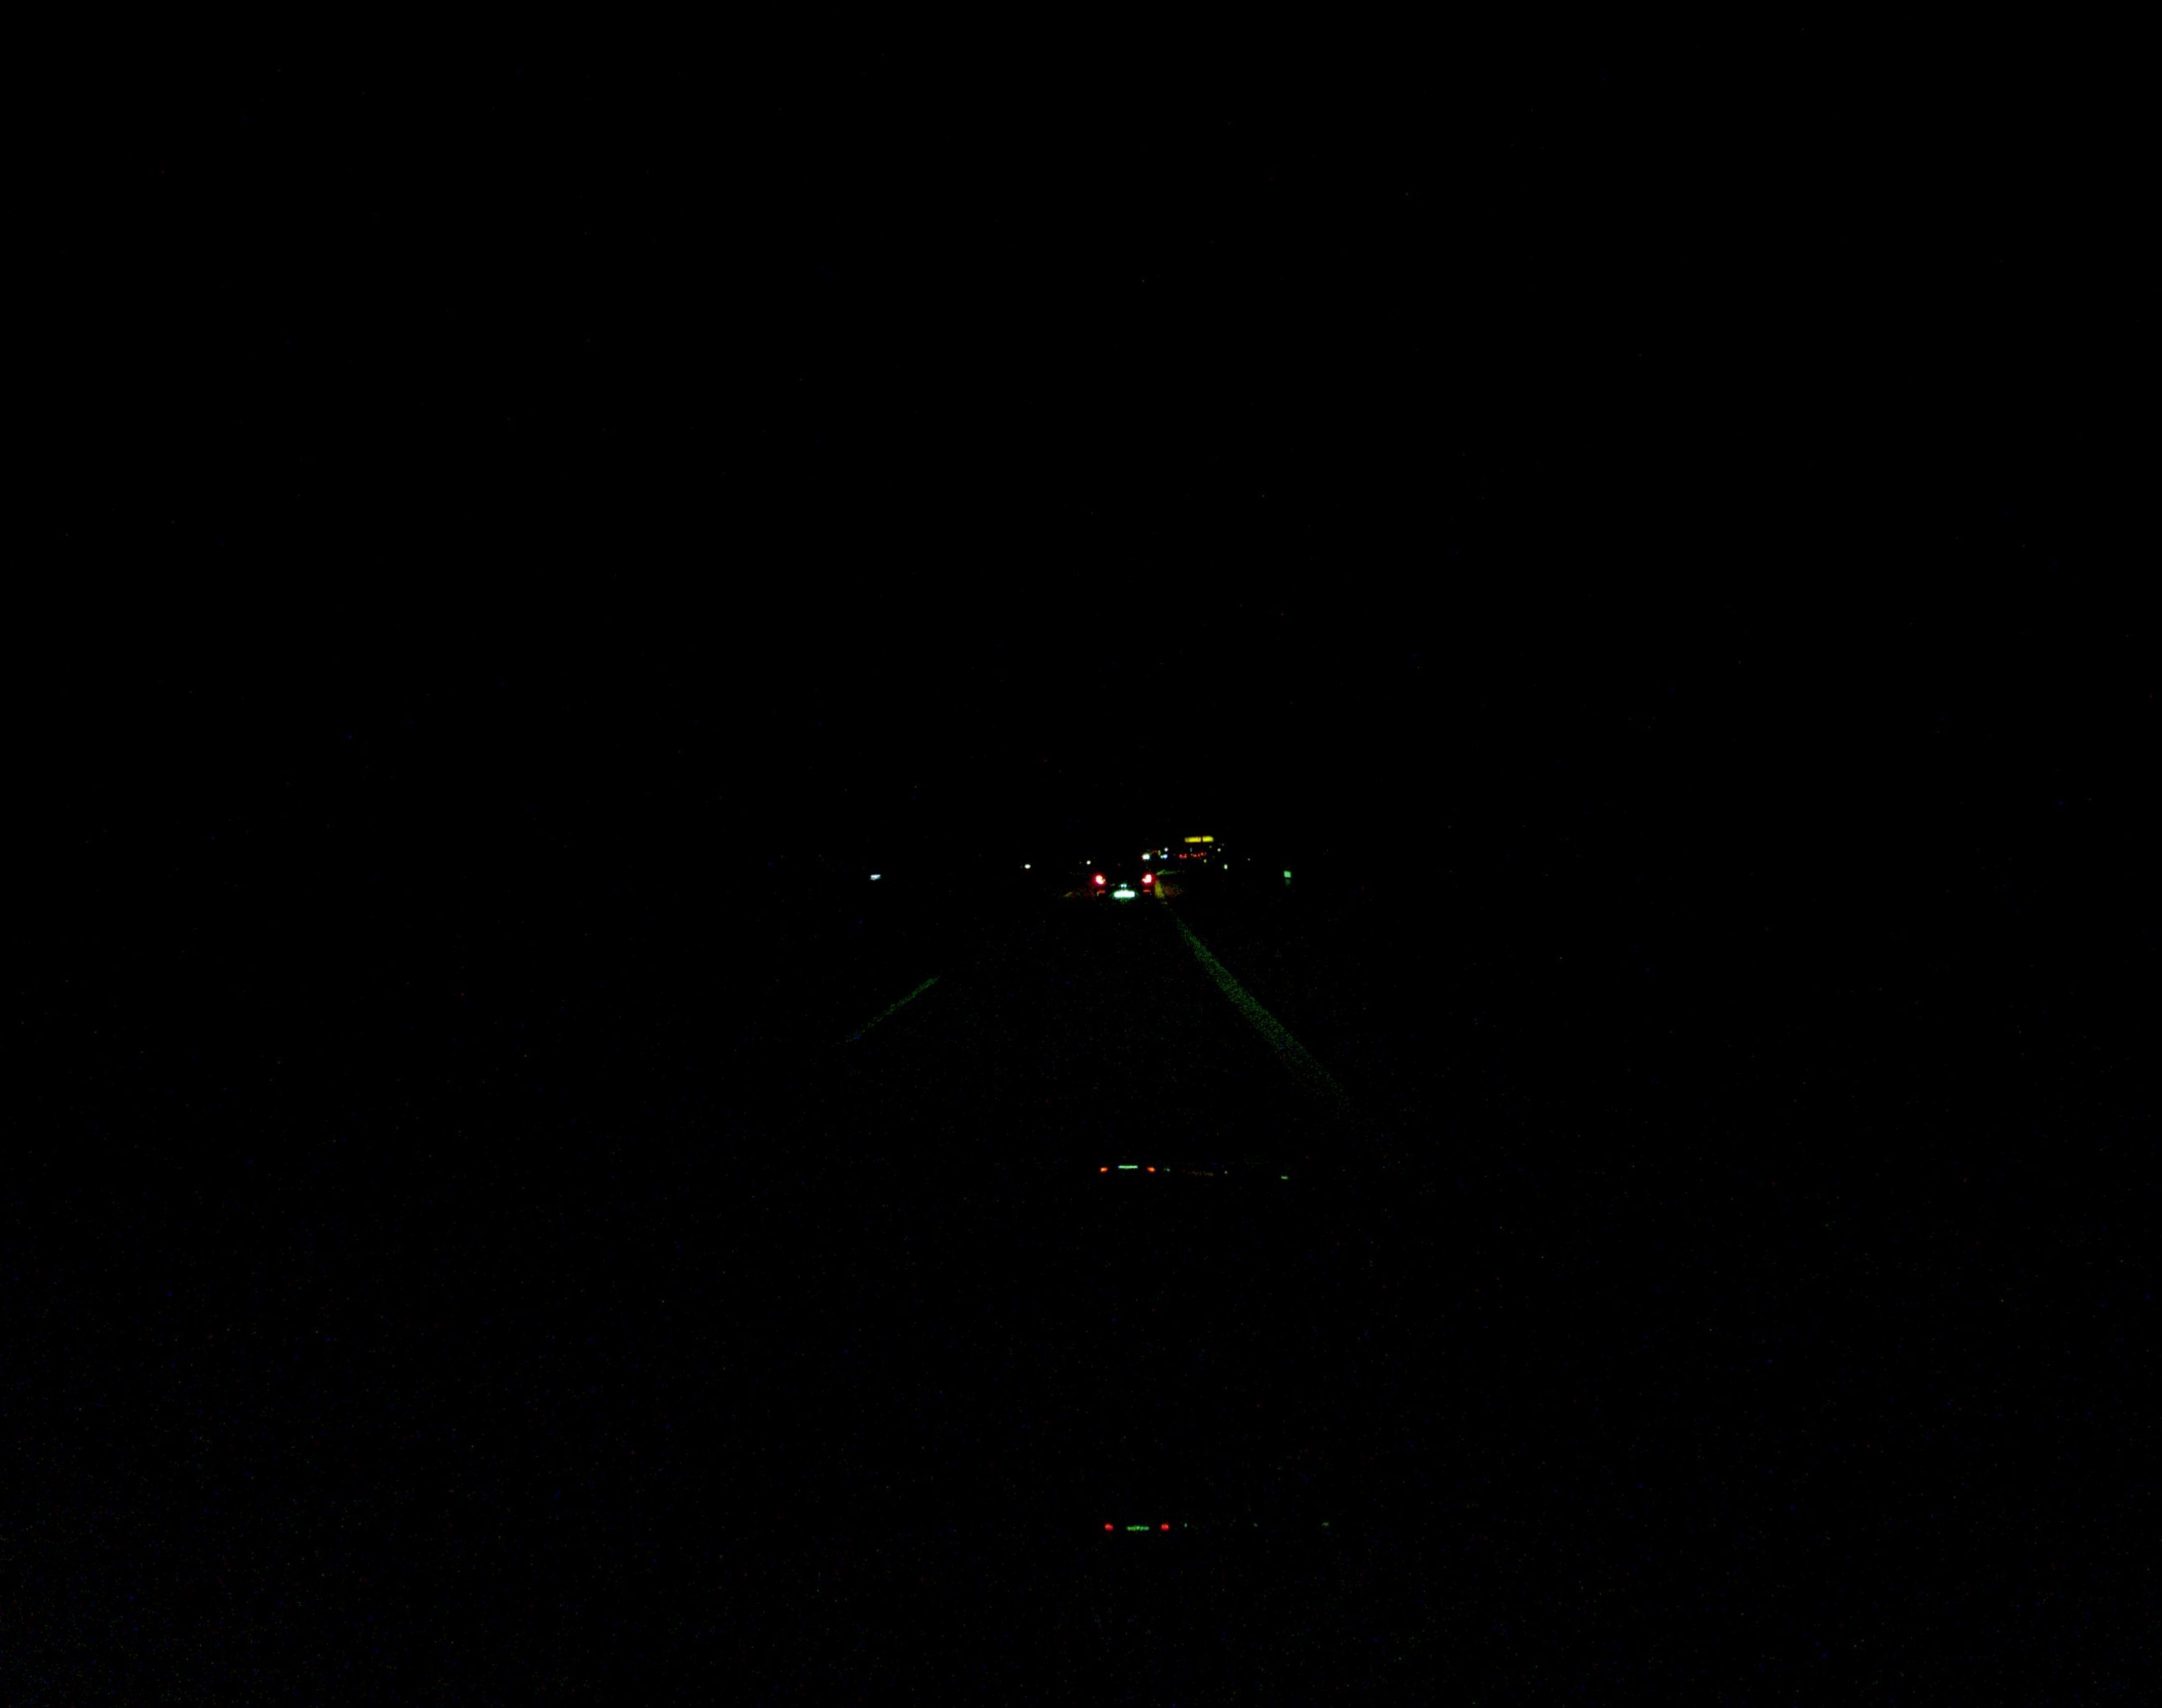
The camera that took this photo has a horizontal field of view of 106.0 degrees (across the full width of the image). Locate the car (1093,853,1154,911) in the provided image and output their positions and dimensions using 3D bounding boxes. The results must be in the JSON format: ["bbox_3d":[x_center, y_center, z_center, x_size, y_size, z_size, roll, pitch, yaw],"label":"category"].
[{"bbox_3d":[1.153,0.744,23.534,1.583,1.508,4.000,-1,0,0],"label":"car"}]

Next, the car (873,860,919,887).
[{"bbox_3d":[-12.529,1.281,55.484,1.987,1.657,4.534,-2,-1,1],"label":"car"}]

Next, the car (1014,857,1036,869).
[{"bbox_3d":[-7.569,1.176,111.008,1.809,1.442,4.490,-4,0,11],"label":"car"}]

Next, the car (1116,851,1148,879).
[{"bbox_3d":[3.341,0.660,53.210,1.897,1.698,4.006,-2,0,5],"label":"car"}]
